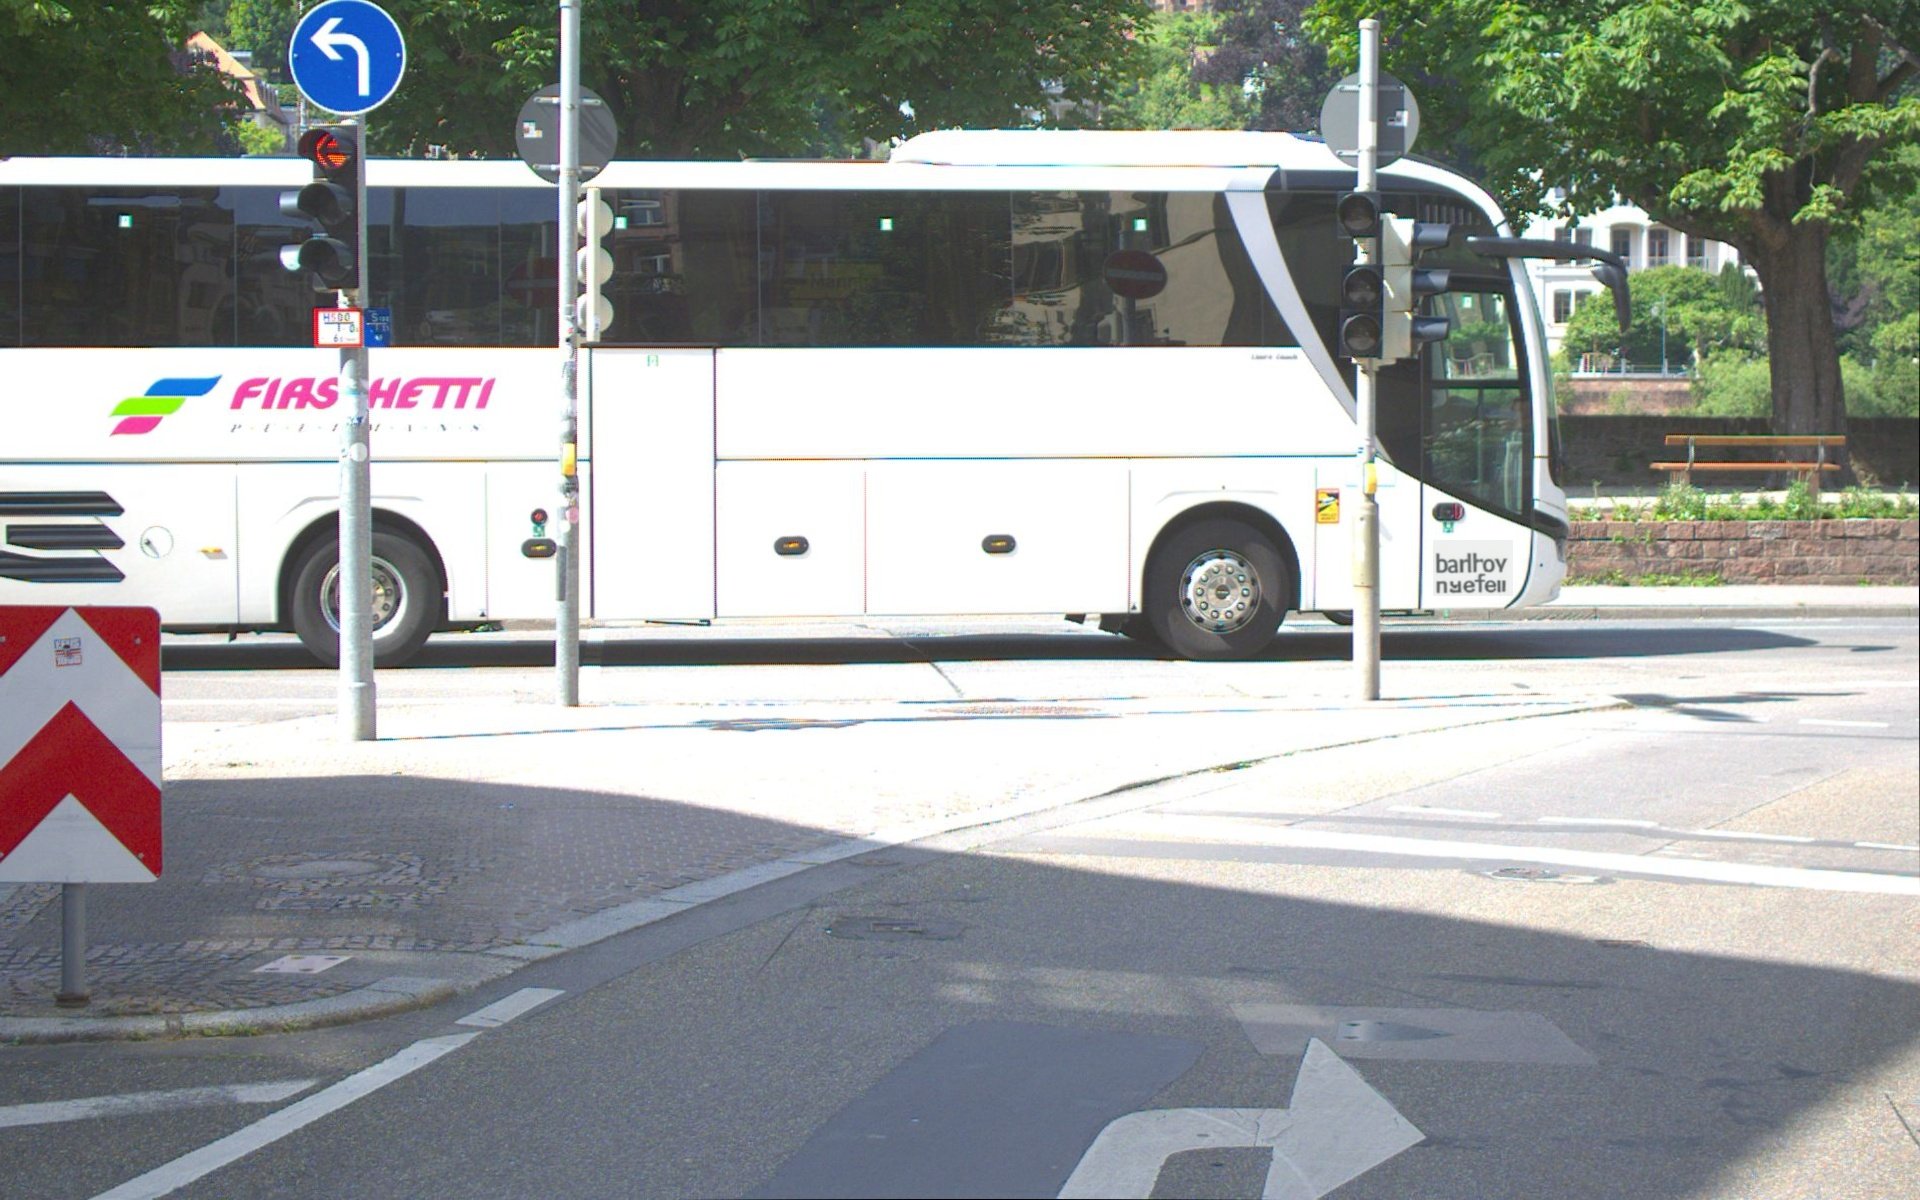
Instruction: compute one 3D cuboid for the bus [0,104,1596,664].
[{"bbox_3d":[-1.643,-1.519,25.371,12.137,3.775,2.908,0,2,-8],"label":"bus"}]
